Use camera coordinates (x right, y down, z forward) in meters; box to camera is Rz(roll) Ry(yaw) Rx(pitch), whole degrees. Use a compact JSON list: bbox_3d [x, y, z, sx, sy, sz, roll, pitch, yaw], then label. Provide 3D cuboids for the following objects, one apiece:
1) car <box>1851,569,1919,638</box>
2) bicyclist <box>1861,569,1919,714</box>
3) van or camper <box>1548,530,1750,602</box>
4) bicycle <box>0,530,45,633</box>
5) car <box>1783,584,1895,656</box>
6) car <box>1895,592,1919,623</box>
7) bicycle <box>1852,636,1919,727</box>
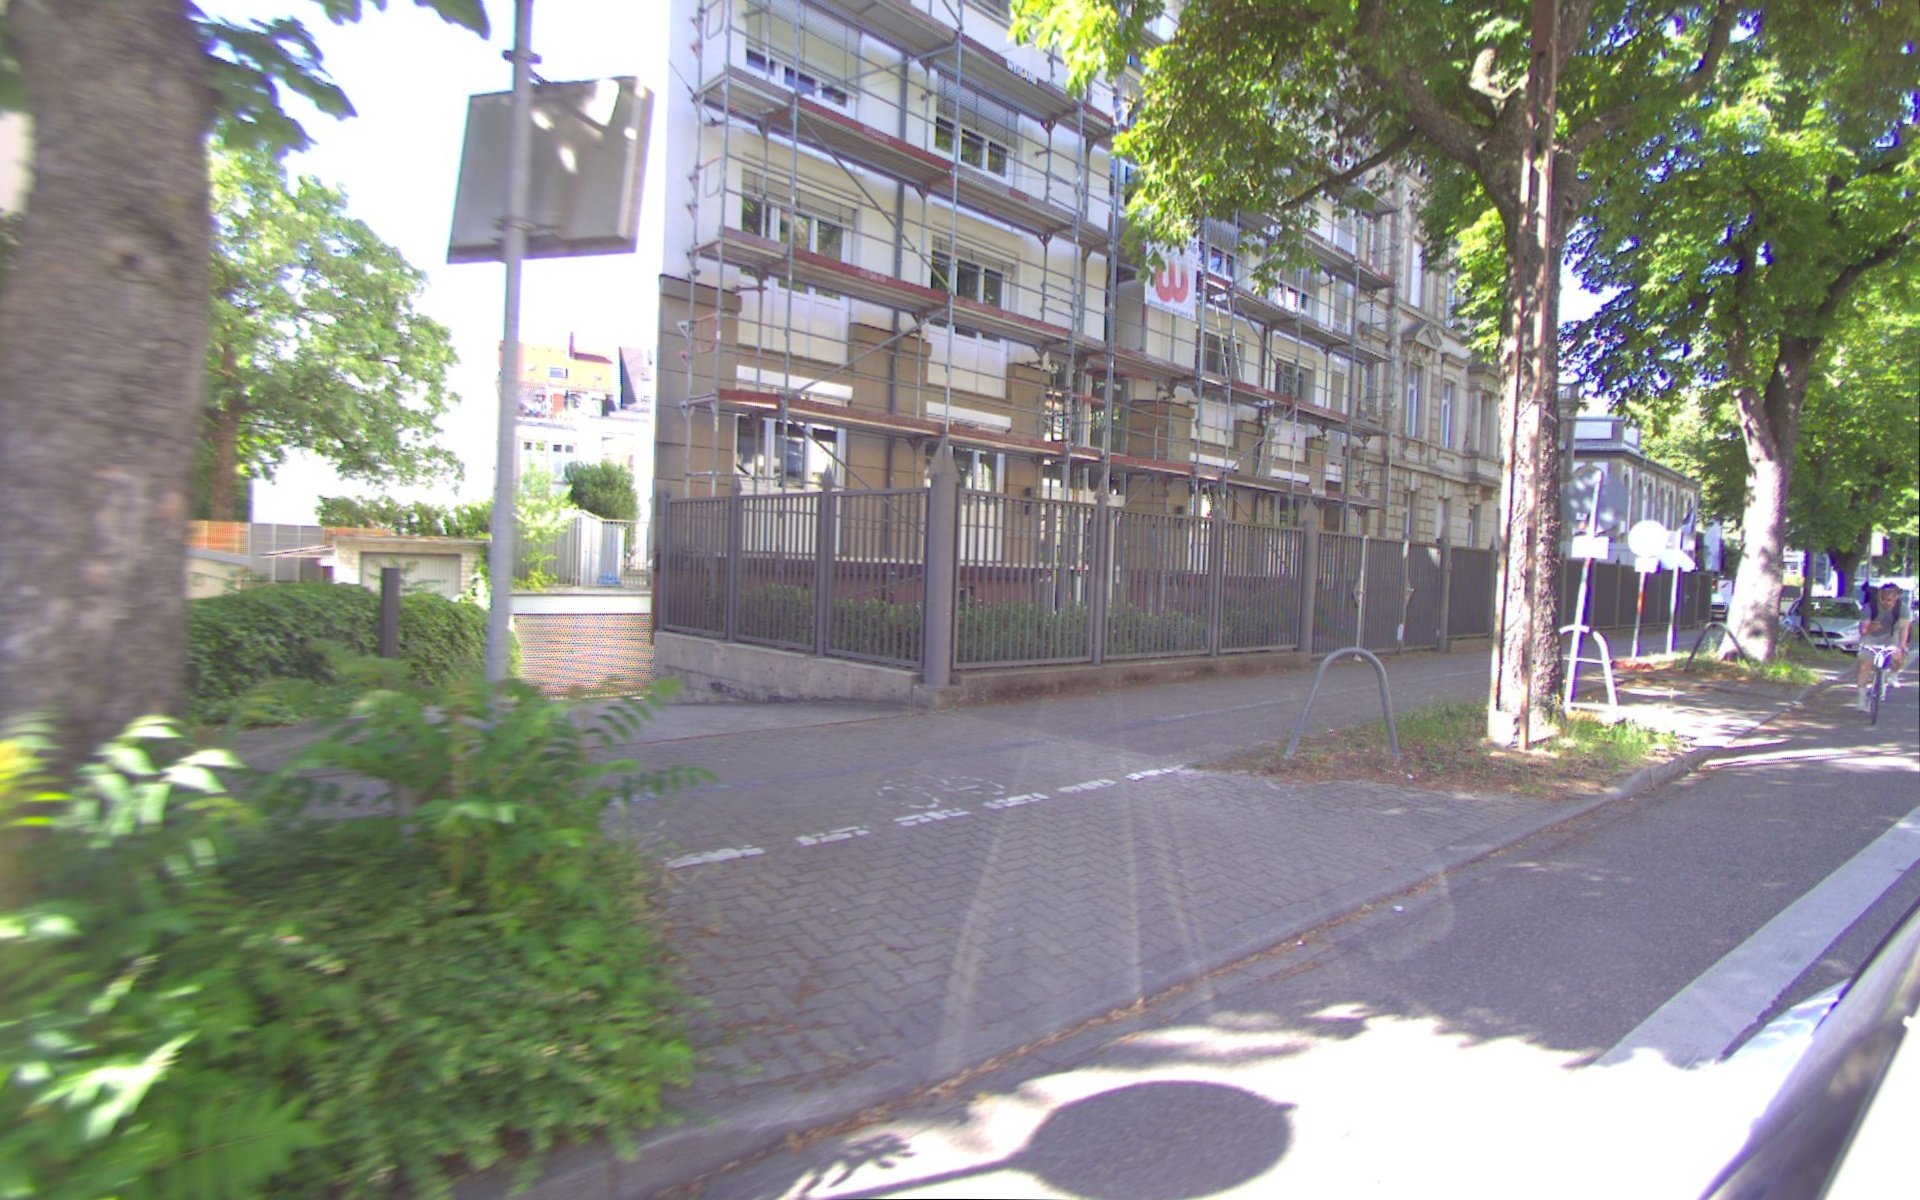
[{"bbox_3d":[36.055,0.066,39.032,2.128,2.371,5.713,6,5,44],"label":"car"},{"bbox_3d":[11.437,0.475,12.356,0.863,1.690,0.532,0,2,-42],"label":"bicyclist"},{"bbox_3d":[27.355,-1.349,40.610,2.078,2.659,6.753,0,2,-18],"label":"van or camper"},{"bbox_3d":[-11.927,-0.241,12.520,1.686,1.214,0.432,2,1,31],"label":"bicycle"},{"bbox_3d":[22.886,0.444,26.291,1.874,1.561,4.296,6,5,44],"label":"car"},{"bbox_3d":[52.140,0.406,54.963,1.862,1.569,4.037,3,3,44],"label":"car"},{"bbox_3d":[11.388,0.955,12.328,2.021,0.933,0.534,-1,2,-42],"label":"bicycle"}]
